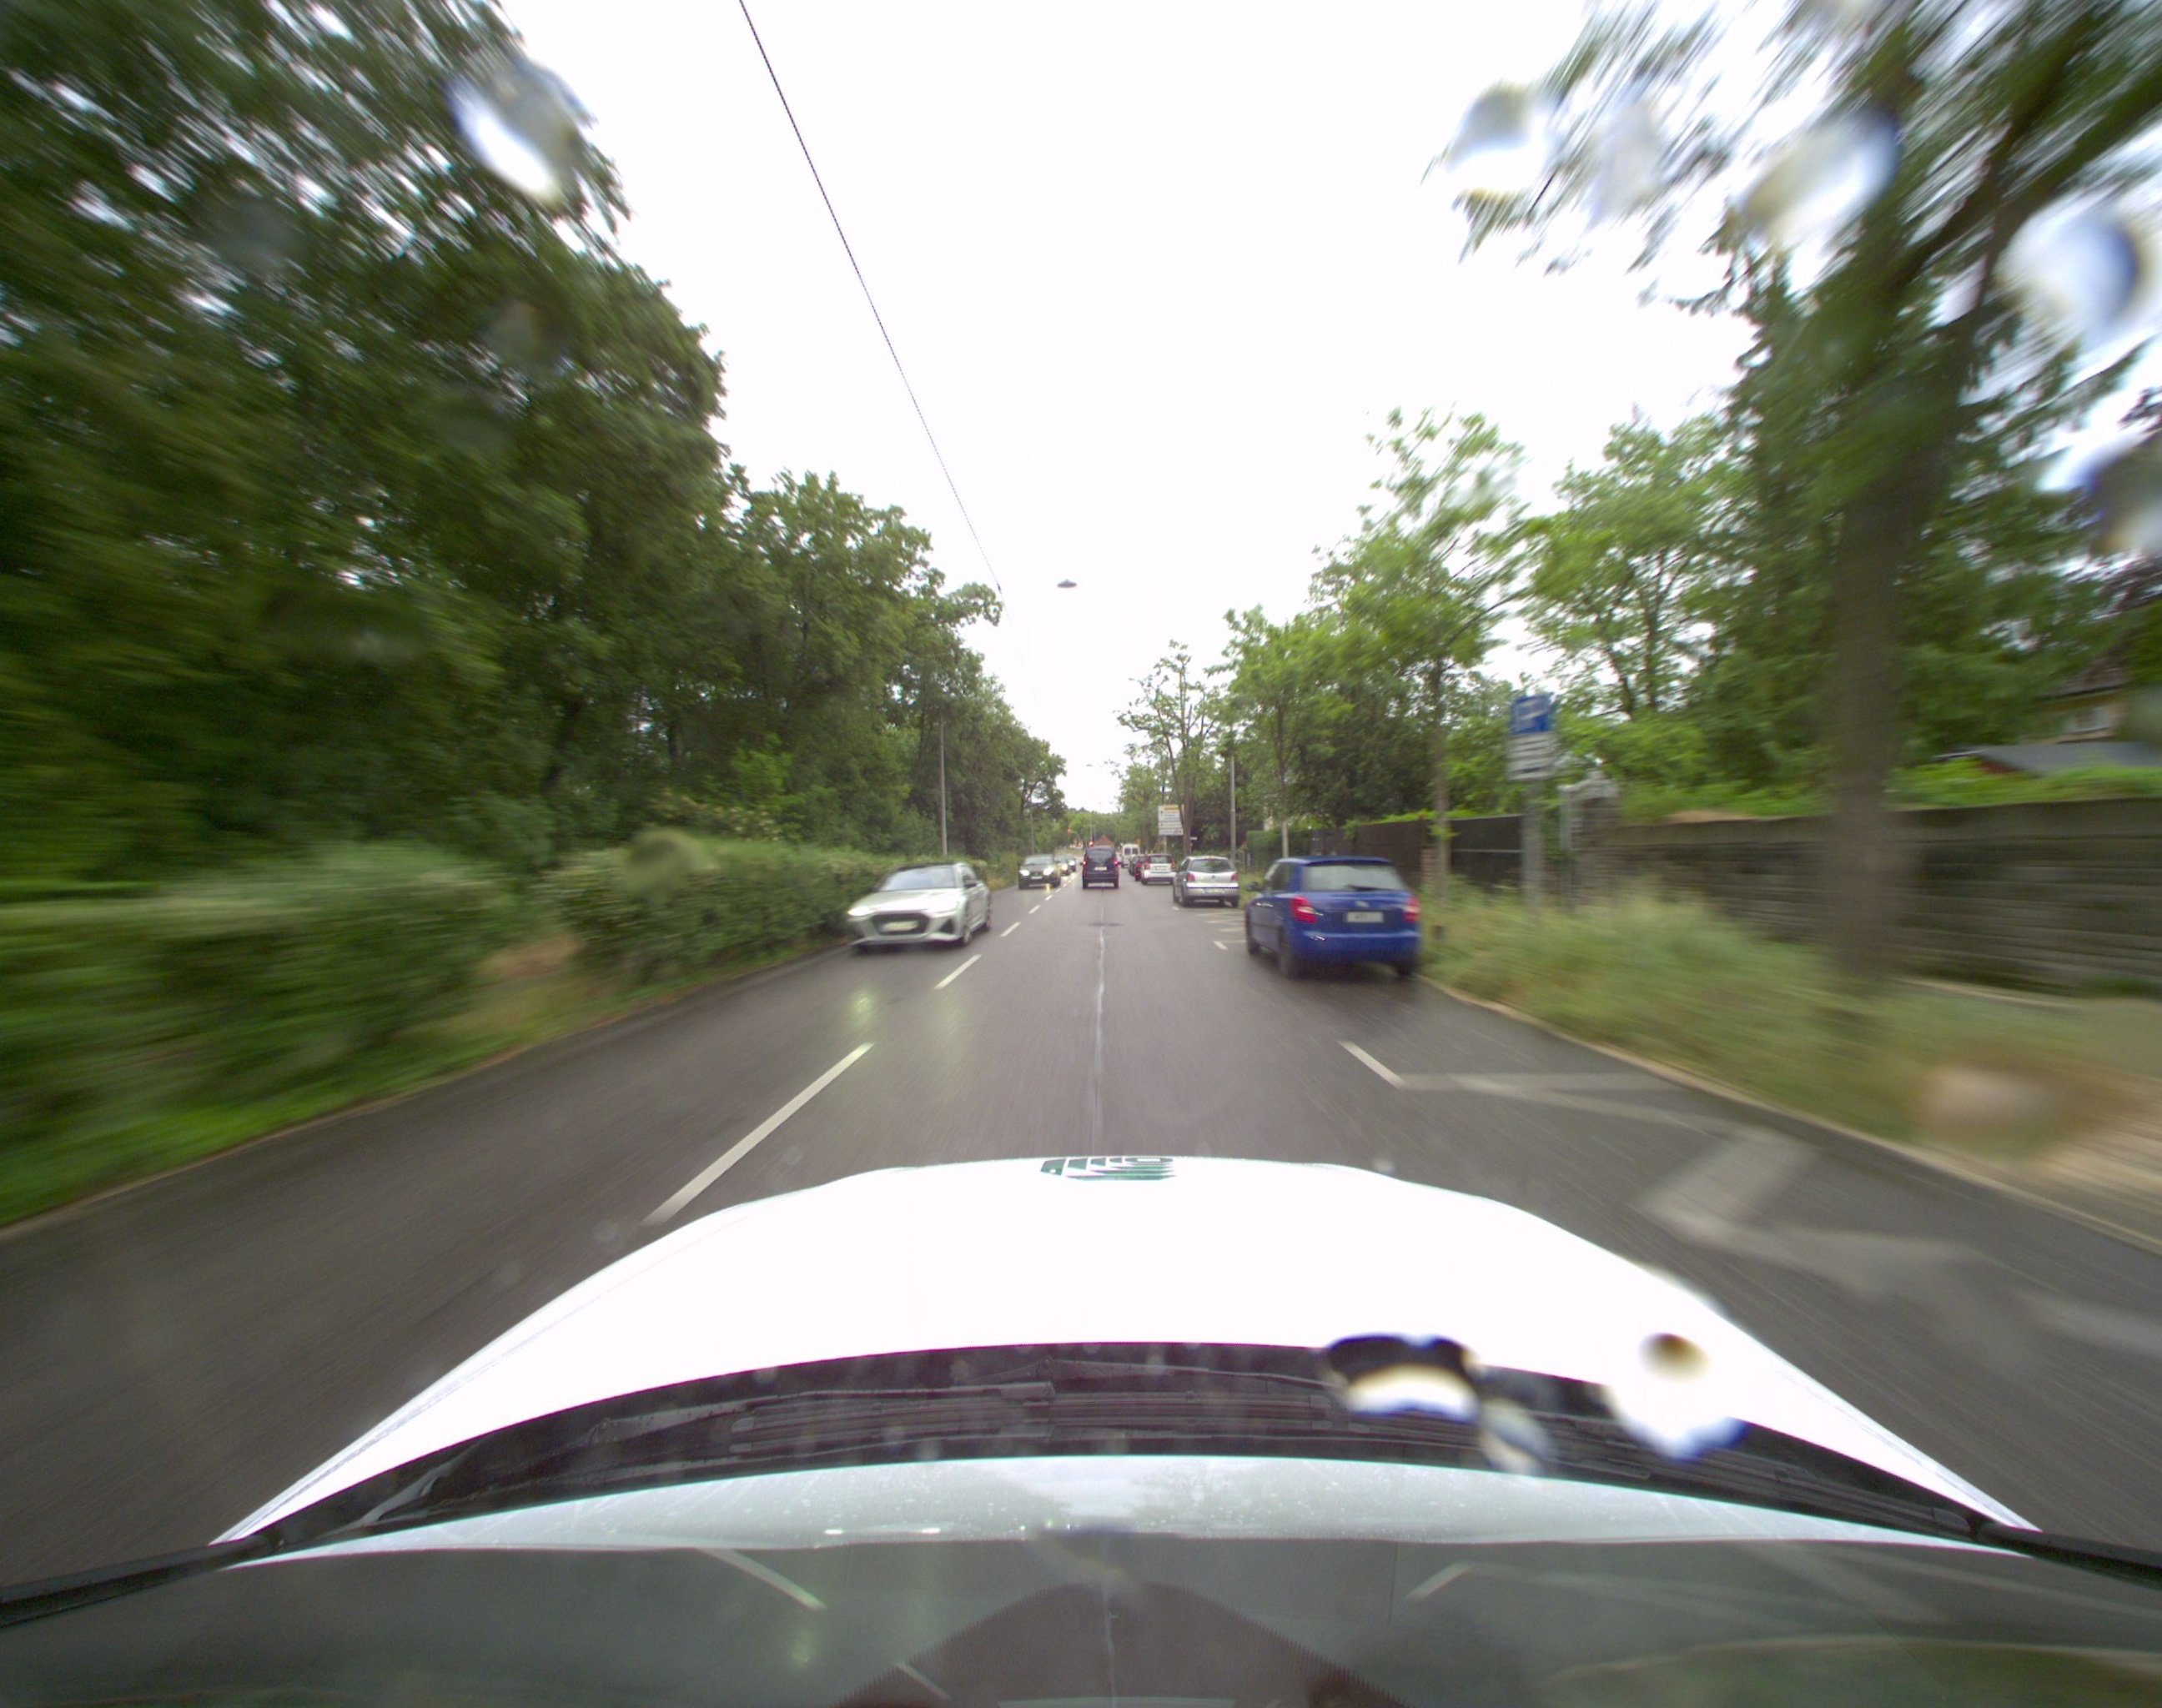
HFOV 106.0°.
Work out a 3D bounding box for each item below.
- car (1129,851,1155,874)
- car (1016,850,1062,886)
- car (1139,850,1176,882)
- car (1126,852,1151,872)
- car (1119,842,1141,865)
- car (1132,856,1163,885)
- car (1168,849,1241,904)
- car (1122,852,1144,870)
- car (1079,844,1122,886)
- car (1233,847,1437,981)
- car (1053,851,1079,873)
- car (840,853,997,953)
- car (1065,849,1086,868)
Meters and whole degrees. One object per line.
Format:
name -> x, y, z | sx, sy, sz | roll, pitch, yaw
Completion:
car -> 4.314, 0.576, 57.779 | 1.691, 1.524, 4.213 | 0, 0, 2
car -> -2.009, 0.646, 39.977 | 1.797, 1.547, 4.433 | -3, 1, 1
car -> 3.789, 0.578, 40.755 | 1.627, 1.509, 2.957 | 0, 1, 0
car -> 4.436, 0.608, 63.052 | 1.692, 1.524, 3.868 | 0, 0, 1
car -> 5.228, -0.055, 88.147 | 2.197, 2.449, 4.731 | -1, 0, 2
car -> 3.785, 0.899, 46.684 | 1.690, 1.524, 3.872 | 0, 1, 4
car -> 3.646, 0.620, 24.585 | 1.613, 1.508, 3.834 | 0, 1, 0
car -> 4.423, 0.595, 69.834 | 1.692, 1.524, 3.868 | 0, 0, 1
car -> 0.830, 0.448, 36.944 | 1.762, 1.830, 3.540 | 0, 1, -1
car -> 3.281, 0.667, 11.343 | 1.714, 1.505, 4.052 | 0, 1, 2
car -> -1.121, 0.596, 62.813 | 1.722, 1.442, 5.114 | -3, 1, 1
car -> -2.878, 0.793, 15.465 | 1.849, 1.468, 4.449 | -4, 1, 2
car -> -0.461, 0.388, 74.415 | 1.717, 1.615, 4.157 | -2, 1, 2
